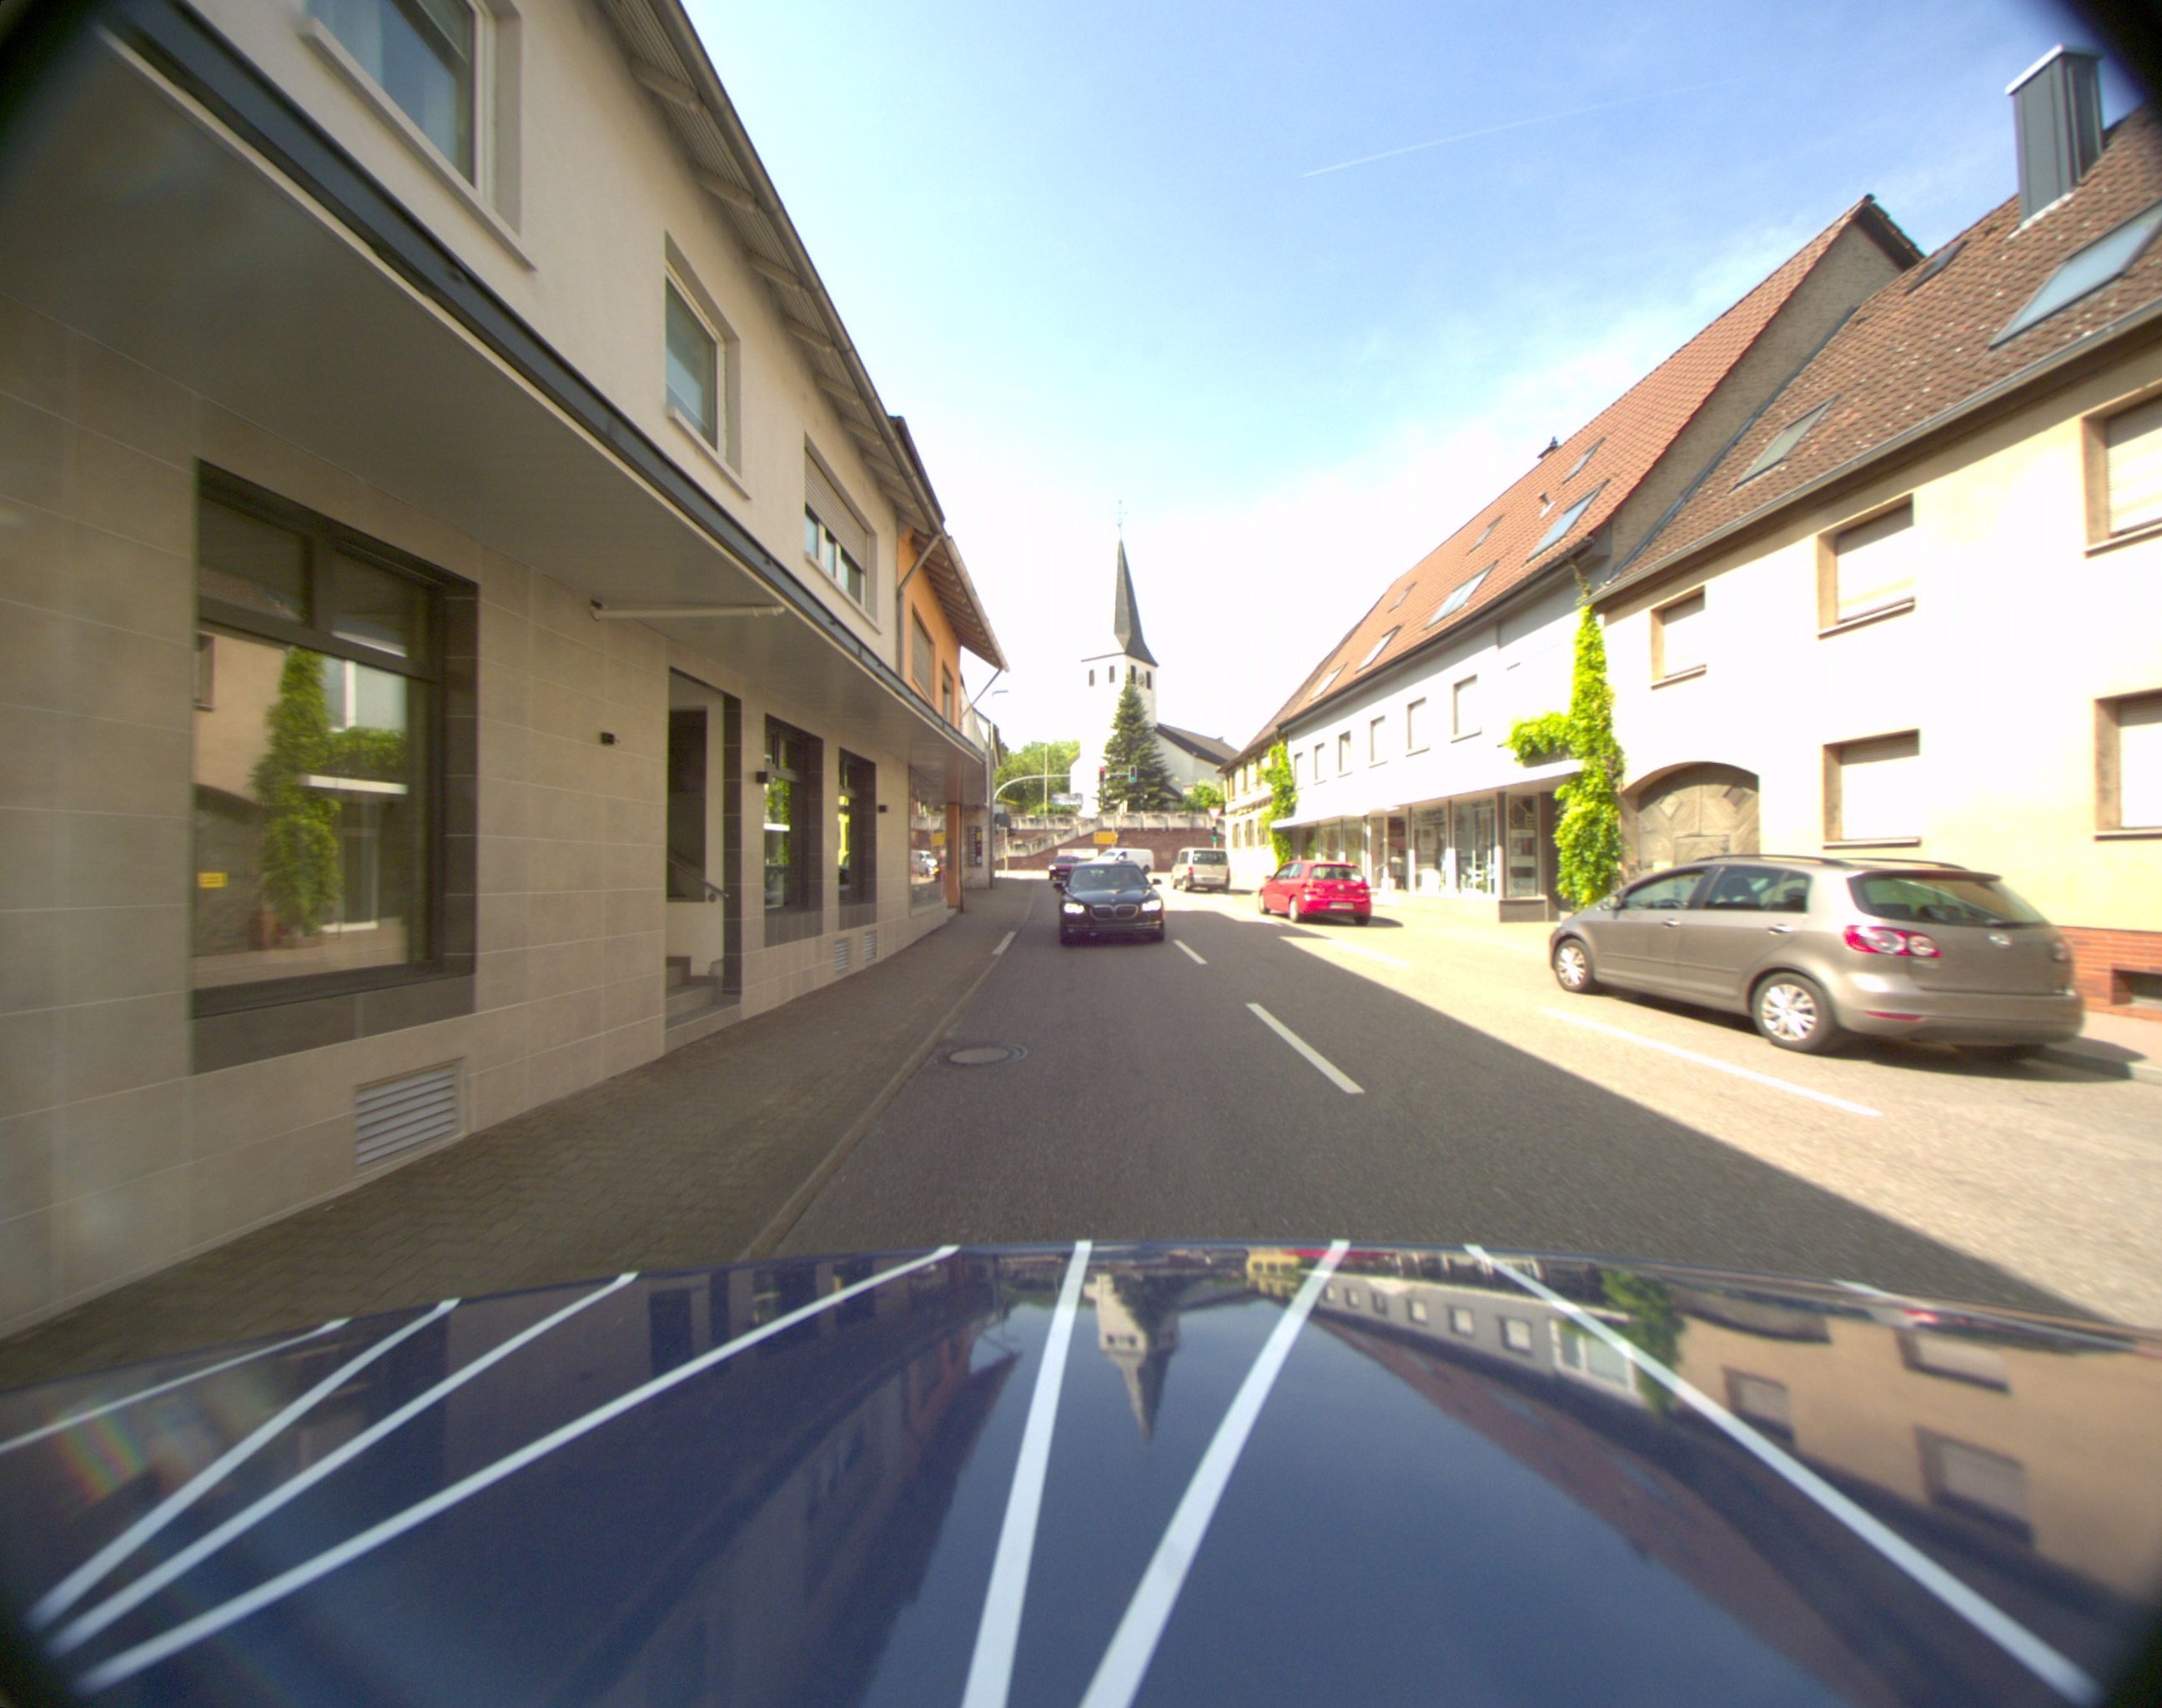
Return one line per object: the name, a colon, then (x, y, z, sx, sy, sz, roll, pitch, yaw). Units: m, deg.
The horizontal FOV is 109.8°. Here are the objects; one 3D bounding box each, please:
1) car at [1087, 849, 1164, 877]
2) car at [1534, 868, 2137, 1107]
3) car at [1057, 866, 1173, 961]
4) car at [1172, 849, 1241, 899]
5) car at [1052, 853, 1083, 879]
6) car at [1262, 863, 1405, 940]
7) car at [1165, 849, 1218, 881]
car: (3.329, 0.666, 56.060, 5.604, 1.879, 2.288, 1, 0, -40)
car: (6.326, 0.950, 7.169, 1.633, 1.511, 4.019, 1, 0, -1)
car: (0.488, 0.977, 14.089, 1.825, 1.426, 4.248, 0, 0, -1)
car: (5.147, 0.764, 31.763, 1.888, 1.879, 4.550, 2, 0, -2)
car: (-0.806, 0.682, 44.436, 1.697, 1.429, 4.265, 1, 0, -2)
car: (5.675, 1.001, 17.620, 1.764, 1.484, 4.075, 1, 0, -3)
car: (7.491, 0.742, 50.979, 2.160, 1.912, 5.175, 3, 0, 23)
